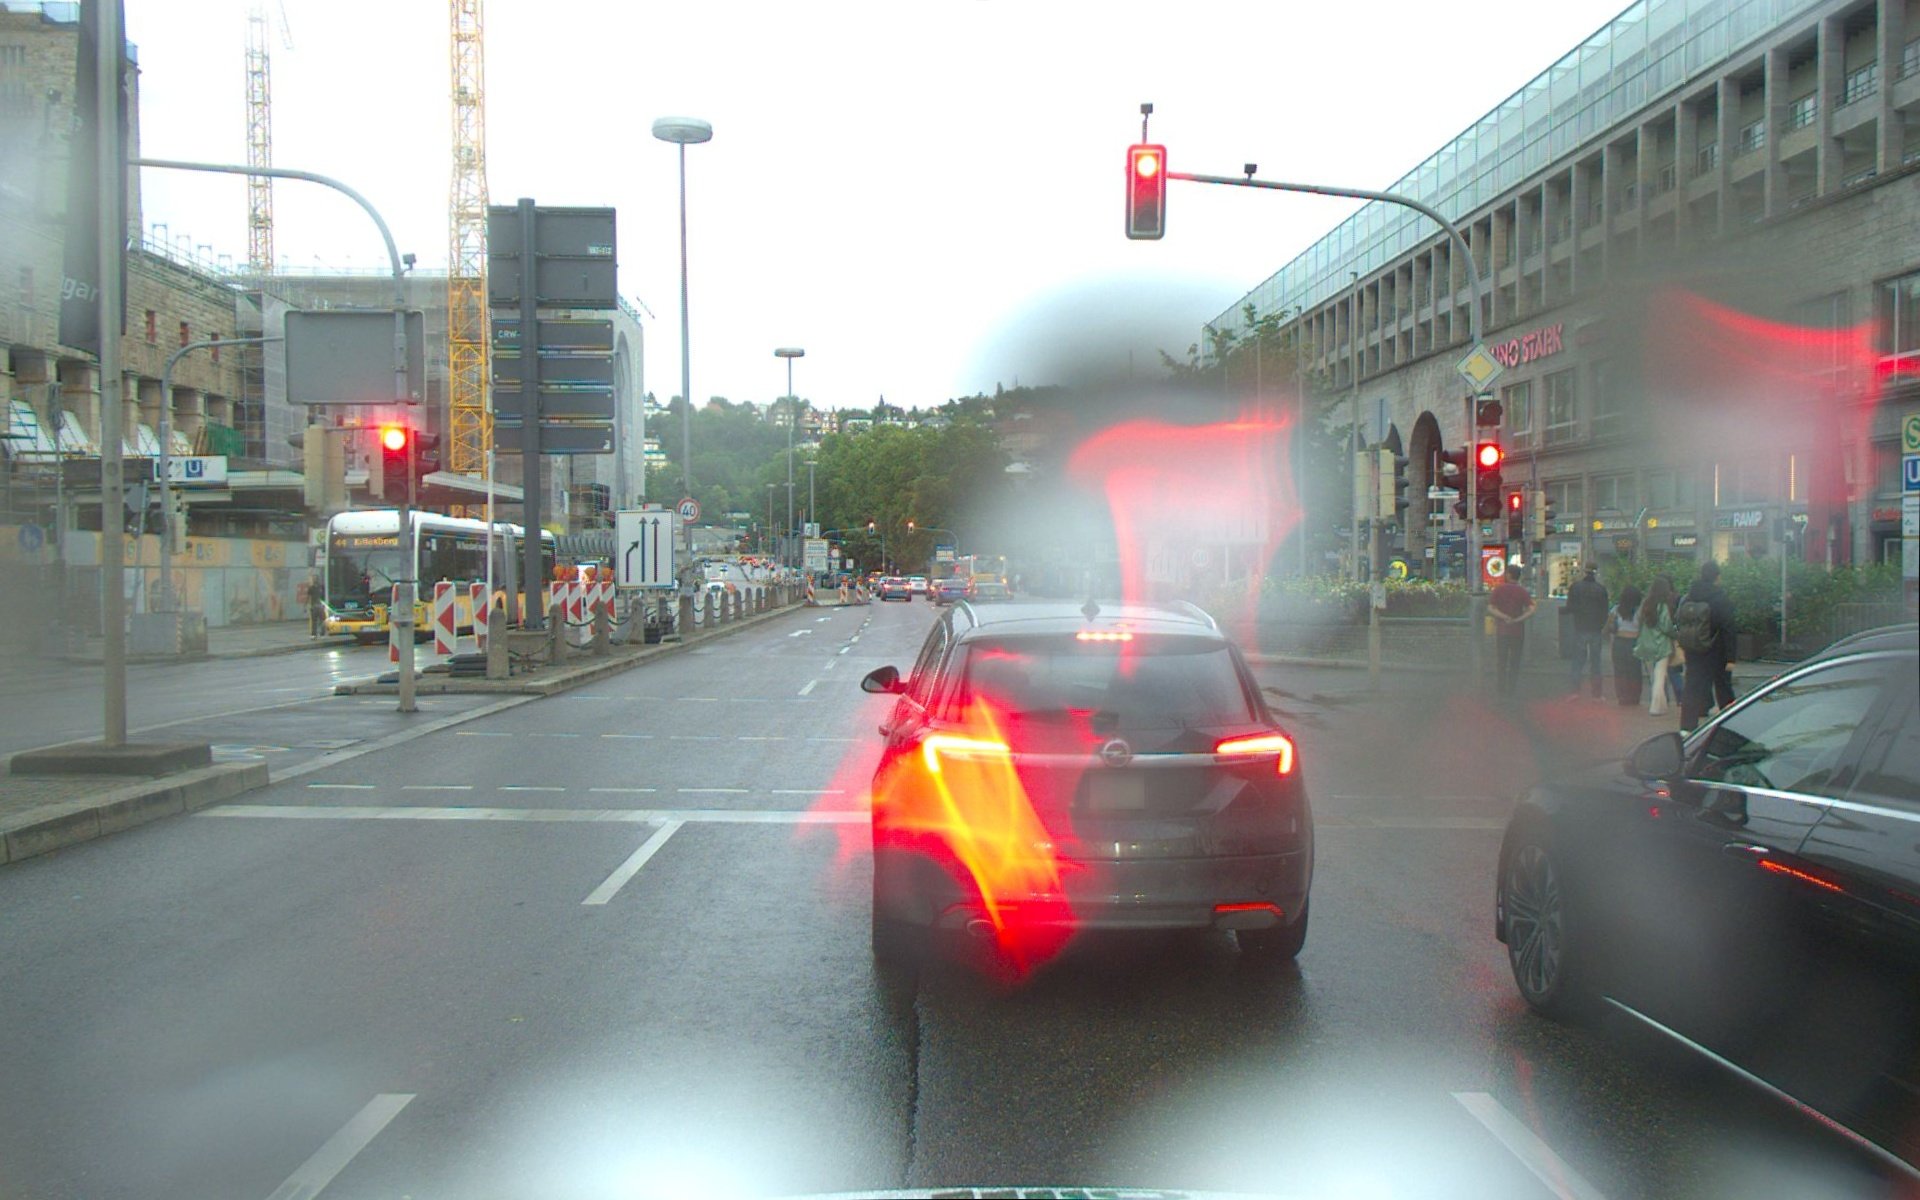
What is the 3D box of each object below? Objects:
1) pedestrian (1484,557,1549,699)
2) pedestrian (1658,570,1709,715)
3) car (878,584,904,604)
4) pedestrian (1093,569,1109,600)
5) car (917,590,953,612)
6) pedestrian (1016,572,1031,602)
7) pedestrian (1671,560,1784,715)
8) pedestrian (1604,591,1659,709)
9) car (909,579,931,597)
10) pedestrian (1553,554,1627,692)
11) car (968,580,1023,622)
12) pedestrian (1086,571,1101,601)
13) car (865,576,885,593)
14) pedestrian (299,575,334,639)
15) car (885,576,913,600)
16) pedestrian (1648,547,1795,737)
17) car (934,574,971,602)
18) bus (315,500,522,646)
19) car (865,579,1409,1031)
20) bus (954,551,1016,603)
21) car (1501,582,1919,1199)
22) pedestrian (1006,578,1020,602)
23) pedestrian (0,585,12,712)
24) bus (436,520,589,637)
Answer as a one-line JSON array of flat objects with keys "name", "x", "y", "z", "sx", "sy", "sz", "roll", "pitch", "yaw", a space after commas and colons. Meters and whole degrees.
[{"name": "pedestrian", "x": 7.167, "y": 0.353, "z": 21.309, "sx": 0.560, "sy": 1.783, "sz": 0.676, "roll": 1, "pitch": 0, "yaw": 42}, {"name": "pedestrian", "x": 9.051, "y": 0.526, "z": 20.708, "sx": 0.471, "sy": 1.782, "sz": 0.666, "roll": -2, "pitch": 0, "yaw": 19}, {"name": "car", "x": -5.032, "y": -0.452, "z": 120.862, "sx": 1.808, "sy": 1.422, "sz": 3.563, "roll": 1, "pitch": 0, "yaw": -1}, {"name": "pedestrian", "x": 8.015, "y": -0.875, "z": 94.299, "sx": 0.748, "sy": 1.720, "sz": 0.824, "roll": 1, "pitch": 0, "yaw": -5}, {"name": "car", "x": -1.661, "y": 0.060, "z": 107.676, "sx": 1.721, "sy": 1.422, "sz": 4.392, "roll": 1, "pitch": 0, "yaw": -9}, {"name": "pedestrian", "x": 5.227, "y": -1.048, "z": 136.016, "sx": 1.174, "sy": 2.478, "sz": 1.228, "roll": 1, "pitch": 0, "yaw": 0}, {"name": "pedestrian", "x": 8.469, "y": 0.405, "z": 18.289, "sx": 0.778, "sy": 1.654, "sz": 0.899, "roll": 1, "pitch": 0, "yaw": -4}, {"name": "pedestrian", "x": 8.508, "y": 0.626, "z": 20.977, "sx": 0.617, "sy": 1.452, "sz": 0.490, "roll": 1, "pitch": 0, "yaw": 21}, {"name": "car", "x": -3.384, "y": -1.024, "z": 139.694, "sx": 1.808, "sy": 1.422, "sz": 3.563, "roll": 1, "pitch": 0, "yaw": -1}, {"name": "pedestrian", "x": 8.116, "y": 0.294, "z": 21.308, "sx": 0.740, "sy": 1.747, "sz": 0.466, "roll": 1, "pitch": 0, "yaw": -5}, {"name": "car", "x": 1.243, "y": 0.049, "z": 58.910, "sx": 1.808, "sy": 1.422, "sz": 3.666, "roll": 1, "pitch": 0, "yaw": -1}, {"name": "pedestrian", "x": 7.715, "y": -0.816, "z": 95.525, "sx": 0.748, "sy": 1.720, "sz": 0.824, "roll": 1, "pitch": 0, "yaw": -5}, {"name": "car", "x": -7.682, "y": -1.401, "z": 149.839, "sx": 1.723, "sy": 1.422, "sz": 3.563, "roll": 1, "pitch": 0, "yaw": -1}, {"name": "pedestrian", "x": -17.248, "y": 0.190, "z": 44.354, "sx": 0.646, "sy": 1.710, "sz": 0.644, "roll": 1, "pitch": 0, "yaw": -1}, {"name": "car", "x": -3.838, "y": -0.733, "z": 103.692, "sx": 1.718, "sy": 1.422, "sz": 4.536, "roll": 1, "pitch": 0, "yaw": -2}, {"name": "pedestrian", "x": 7.427, "y": 0.397, "z": 16.168, "sx": 1.074, "sy": 1.782, "sz": 0.653, "roll": -2, "pitch": 0, "yaw": -4}, {"name": "car", "x": -0.429, "y": -0.639, "z": 89.915, "sx": 1.718, "sy": 1.422, "sz": 4.645, "roll": 1, "pitch": 0, "yaw": -3}, {"name": "bus", "x": -15.202, "y": -0.686, "z": 47.428, "sx": 2.614, "sy": 3.665, "sz": 10.237, "roll": 1, "pitch": 0, "yaw": -1}, {"name": "car", "x": 0.564, "y": 0.704, "z": 7.632, "sx": 1.837, "sy": 1.512, "sz": 3.999, "roll": 1, "pitch": 0, "yaw": -1}, {"name": "bus", "x": 1.704, "y": -1.570, "z": 120.915, "sx": 4.089, "sy": 3.529, "sz": 14.651, "roll": 1, "pitch": 0, "yaw": -1}, {"name": "car", "x": 3.046, "y": 0.740, "z": 4.191, "sx": 1.757, "sy": 1.528, "sz": 4.627, "roll": 1, "pitch": 0, "yaw": -1}, {"name": "pedestrian", "x": 4.800, "y": -0.894, "z": 149.785, "sx": 1.174, "sy": 2.186, "sz": 1.228, "roll": 1, "pitch": 0, "yaw": 0}, {"name": "pedestrian", "x": -12.507, "y": 0.601, "z": 20.617, "sx": 0.854, "sy": 1.588, "sz": 0.787, "roll": 1, "pitch": 0, "yaw": 14}, {"name": "bus", "x": -15.361, "y": -0.678, "z": 57.677, "sx": 2.614, "sy": 3.665, "sz": 10.209, "roll": 1, "pitch": 0, "yaw": -1}]
